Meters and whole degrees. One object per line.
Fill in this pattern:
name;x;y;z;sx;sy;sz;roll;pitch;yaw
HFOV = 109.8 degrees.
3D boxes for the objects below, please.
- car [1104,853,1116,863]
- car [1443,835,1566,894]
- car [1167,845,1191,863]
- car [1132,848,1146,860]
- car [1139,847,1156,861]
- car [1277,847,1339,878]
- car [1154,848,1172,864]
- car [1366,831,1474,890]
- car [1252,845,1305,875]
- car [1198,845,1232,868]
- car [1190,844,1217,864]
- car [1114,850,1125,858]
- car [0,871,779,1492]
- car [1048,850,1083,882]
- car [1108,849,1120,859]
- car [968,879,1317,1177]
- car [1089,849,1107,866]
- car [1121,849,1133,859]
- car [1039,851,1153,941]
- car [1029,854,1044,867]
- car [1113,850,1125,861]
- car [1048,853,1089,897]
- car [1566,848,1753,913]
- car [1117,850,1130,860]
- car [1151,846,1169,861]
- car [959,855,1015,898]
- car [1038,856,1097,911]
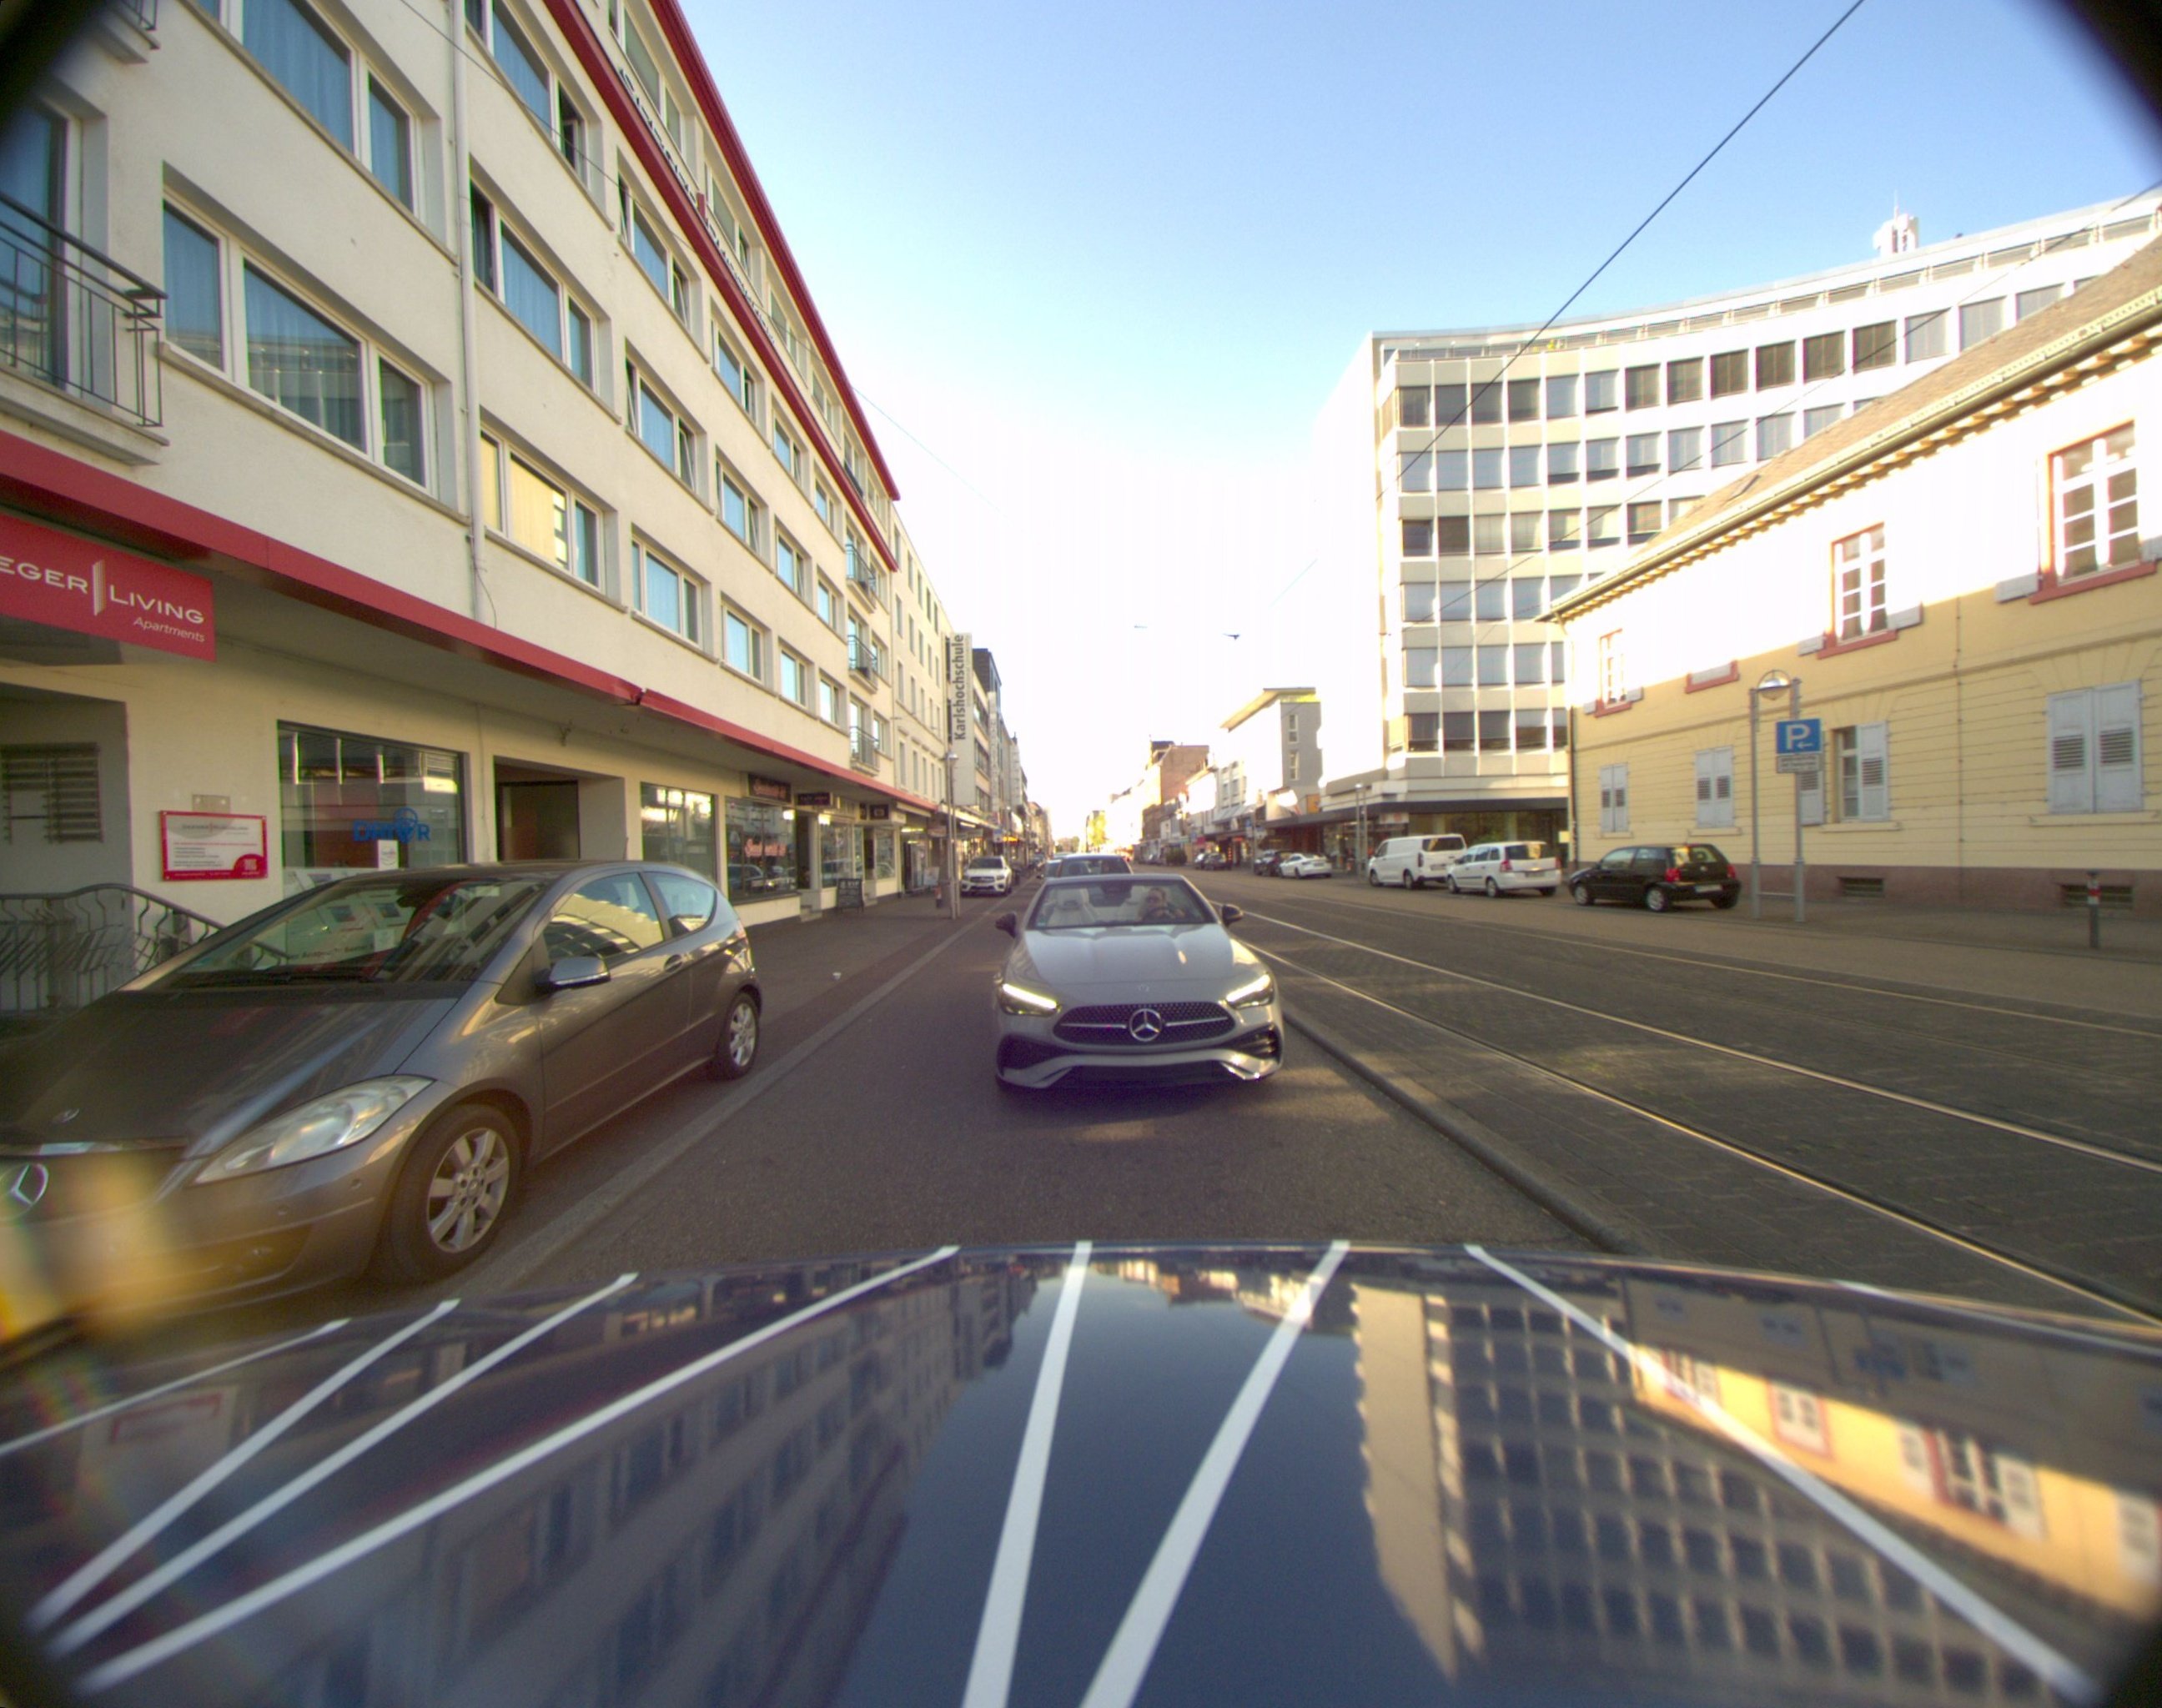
car;5.245;0.717;136.850;1.964;1.499;4.000;-2;1;4
car;12.760;0.266;23.183;1.641;1.600;4.005;-2;1;3
car;11.624;0.006;90.430;2.200;2.030;3.999;-1;0;-1
car;10.227;-0.014;134.451;1.999;2.002;3.999;-2;0;-2
car;10.614;-0.007;121.481;1.999;2.002;5.320;-2;0;-1
car;12.539;0.421;42.247;1.999;1.521;4.373;-2;1;-1
car;10.908;0.212;100.891;1.998;2.002;4.000;-1;0;1
car;12.681;0.229;28.783;2.040;2.002;4.621;-1;0;1
car;12.307;0.361;47.622;1.999;1.694;4.107;-3;1;-2
car;11.550;0.170;65.565;1.999;1.849;3.998;-2;1;-2
car;11.924;-0.036;73.997;1.789;1.870;3.999;-2;0;-2
car;9.024;-0.034;176.535;2.148;1.850;3.998;-2;1;-2
car;-3.217;0.932;3.987;1.683;1.537;3.999;-2;0;-1
car;-0.948;0.678;46.414;1.999;1.793;3.999;-2;1;-1
car;6.260;-0.018;144.043;1.914;1.883;3.855;-2;1;-2
car;0.210;1.008;6.165;1.884;1.375;3.998;-2;1;-4
car;2.067;0.390;92.729;1.947;2.002;3.999;-2;1;-1
car;9.536;-0.035;157.329;1.999;2.002;3.999;-2;0;-2
car;0.166;0.757;15.647;1.927;1.533;3.998;-2;0;-4
car;-5.710;0.823;97.255;1.714;1.430;3.756;-2;1;-1
car;7.484;0.320;151.348;1.999;2.002;3.998;-2;1;-2
car;-0.529;0.820;31.938;1.573;1.670;3.688;-2;1;-1
car;12.818;0.525;17.086;1.688;1.246;3.212;-2;1;-1
car;6.875;0.164;123.919;1.760;1.587;3.999;-1;0;-2
car;11.525;-0.116;111.556;1.999;2.002;3.998;-2;1;-2
car;-3.847;0.885;31.712;1.999;1.620;3.998;-1;0;-4
car;-0.433;0.857;23.688;1.648;1.506;3.844;-2;0;-1
